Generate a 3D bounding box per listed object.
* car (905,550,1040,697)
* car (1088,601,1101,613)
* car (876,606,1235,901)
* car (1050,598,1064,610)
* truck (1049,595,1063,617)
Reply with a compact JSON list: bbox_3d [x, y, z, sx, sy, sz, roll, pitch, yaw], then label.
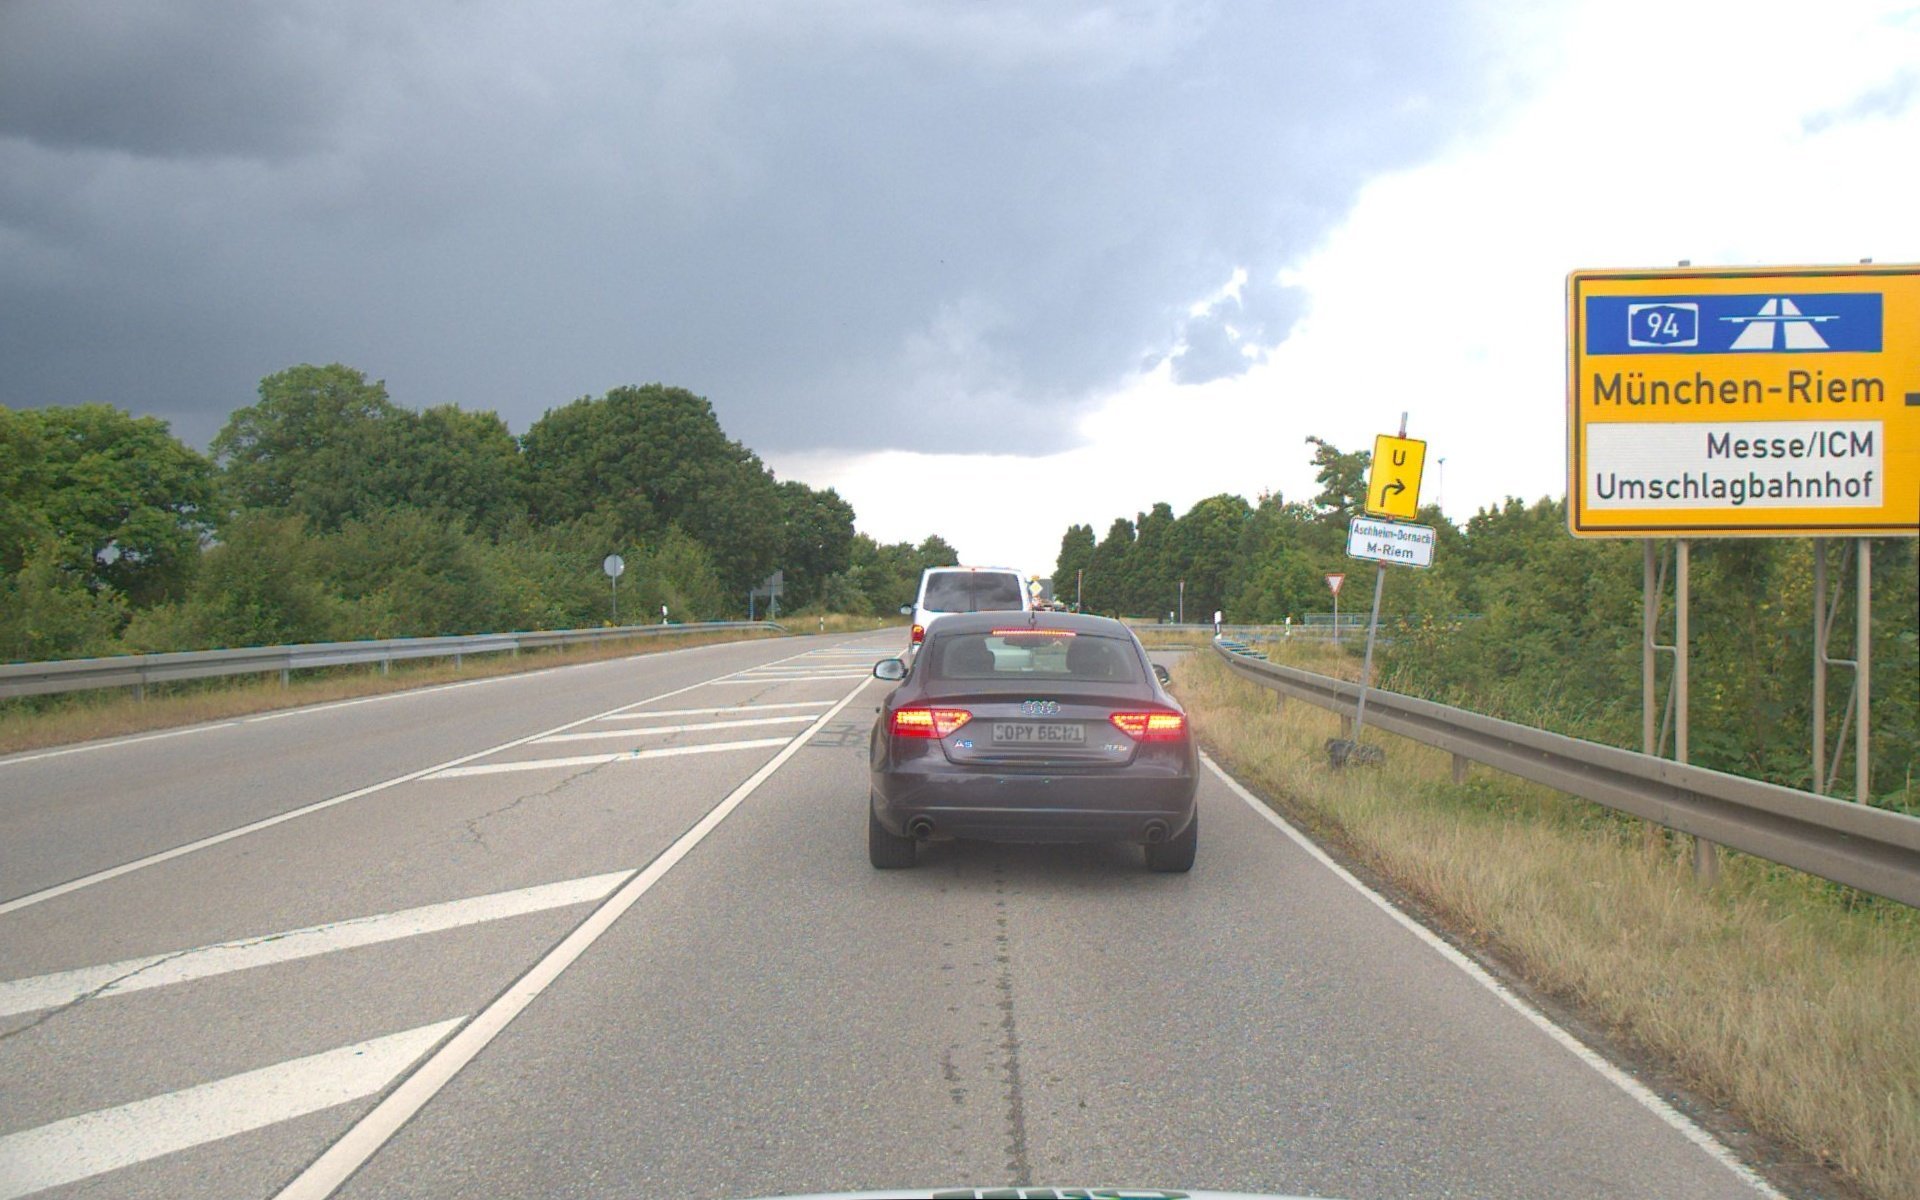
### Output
[{"bbox_3d":[0.162,0.323,25.385,1.871,2.049,3.999,1,0,-1],"label":"car"},{"bbox_3d":[20.087,1.023,246.956,1.836,1.722,4.003,1,0,5],"label":"car"},{"bbox_3d":[0.443,0.756,9.737,1.743,1.423,3.336,1,0,-1],"label":"car"},{"bbox_3d":[14.884,0.610,254.066,1.952,1.722,4.001,1,0,2],"label":"car"},{"bbox_3d":[13.691,0.836,235.764,1.952,2.969,5.795,1,0,3],"label":"truck"}]
